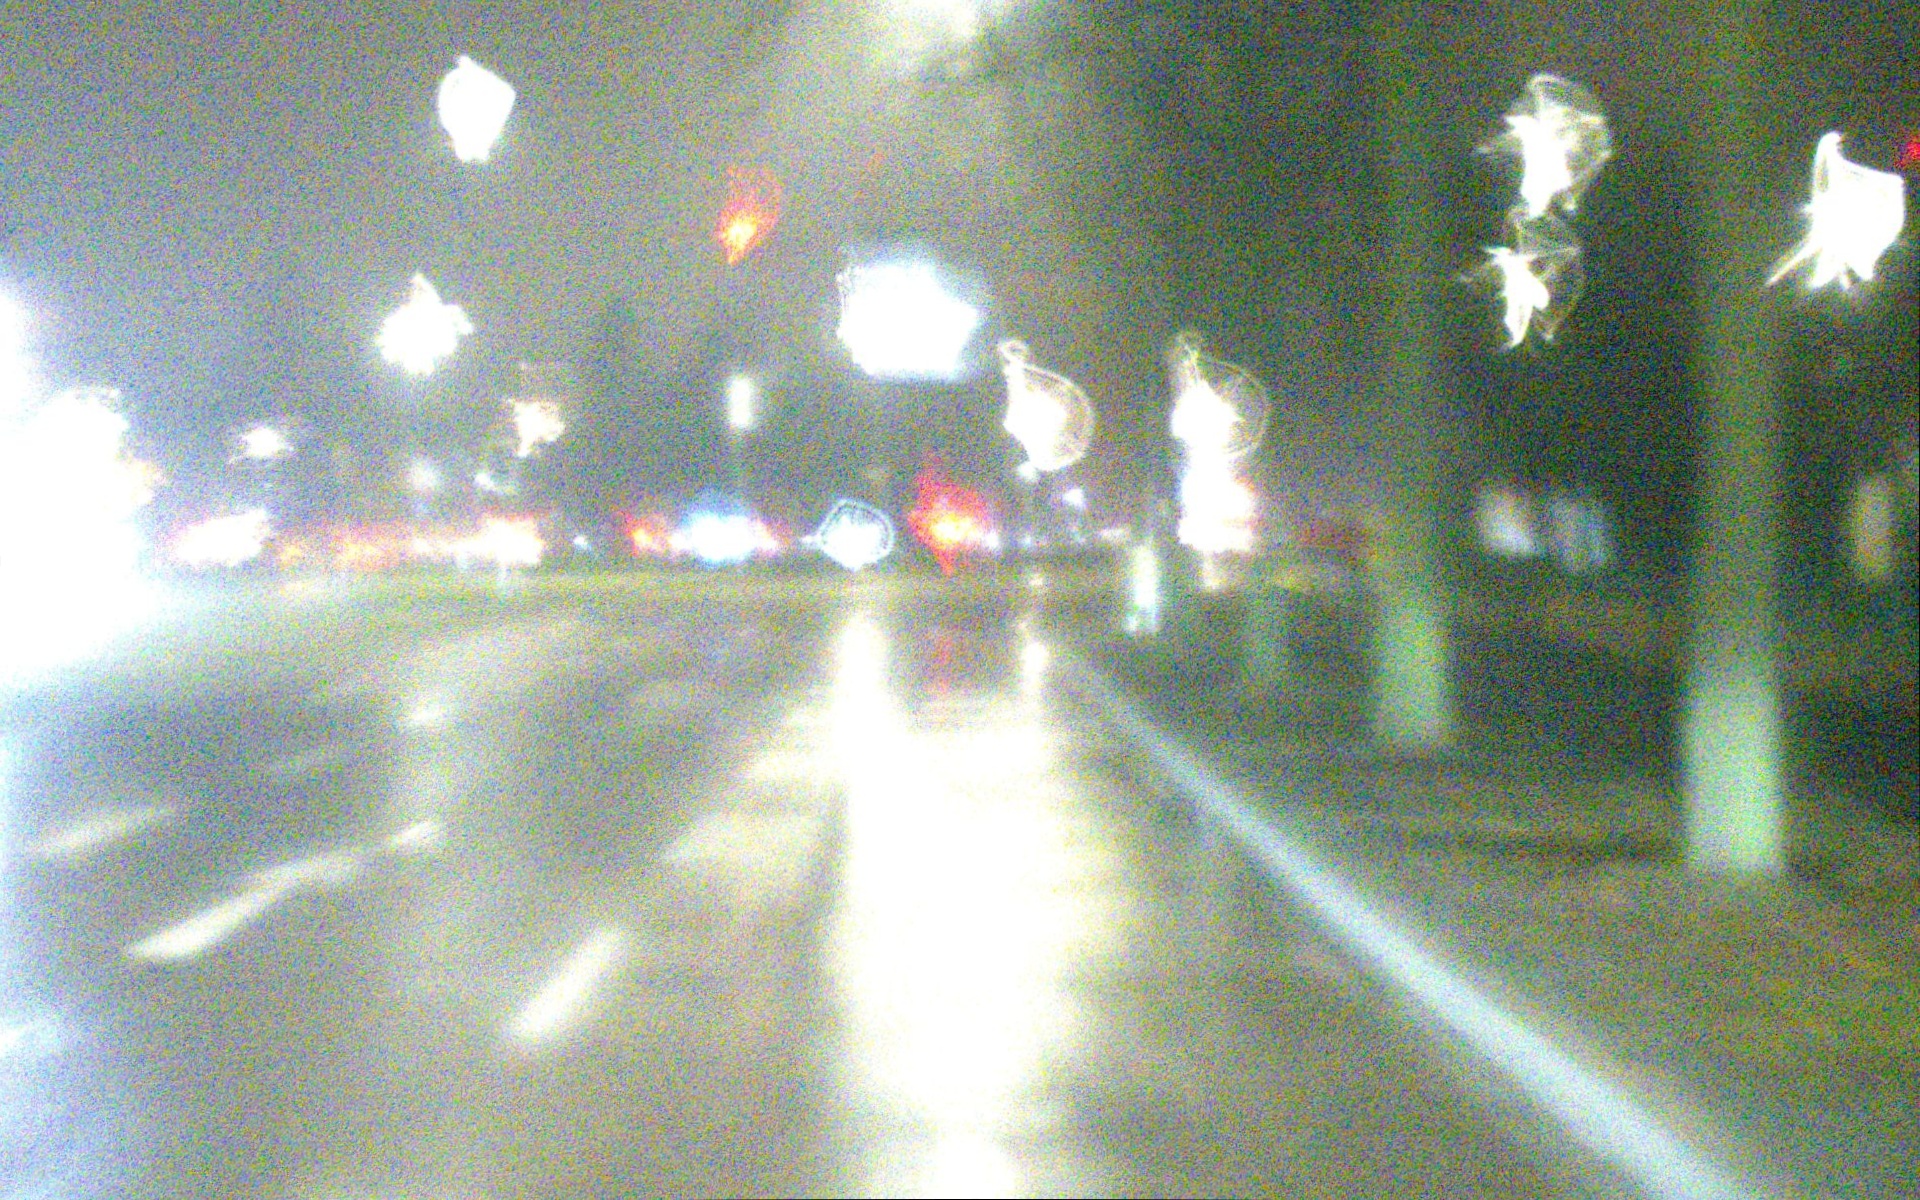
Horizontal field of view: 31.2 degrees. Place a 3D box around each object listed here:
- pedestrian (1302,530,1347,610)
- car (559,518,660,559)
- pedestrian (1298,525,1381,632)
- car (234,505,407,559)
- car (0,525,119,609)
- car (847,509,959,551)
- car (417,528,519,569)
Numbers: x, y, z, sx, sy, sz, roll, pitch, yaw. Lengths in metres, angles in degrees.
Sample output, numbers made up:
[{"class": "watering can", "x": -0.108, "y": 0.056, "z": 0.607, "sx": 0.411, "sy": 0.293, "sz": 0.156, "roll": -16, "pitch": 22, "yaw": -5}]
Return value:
[{"class": "pedestrian", "x": 6.874, "y": -0.574, "z": 64.874, "sx": 0.726, "sy": 1.480, "sz": 0.836, "roll": 1, "pitch": 1, "yaw": -1}, {"class": "car", "x": -14.058, "y": -2.473, "z": 137.989, "sx": 3.951, "sy": 1.573, "sz": 1.737, "roll": 1, "pitch": 1, "yaw": -2}, {"class": "pedestrian", "x": 6.482, "y": -0.380, "z": 58.816, "sx": 1.227, "sy": 1.787, "sz": 1.490, "roll": 1, "pitch": 1, "yaw": -1}, {"class": "car", "x": -25.335, "y": -2.696, "z": 136.157, "sx": 6.292, "sy": 2.082, "sz": 2.516, "roll": 0, "pitch": 1, "yaw": -25}, {"class": "car", "x": -16.775, "y": -0.626, "z": 63.158, "sx": 1.829, "sy": 1.459, "sz": 4.001, "roll": 1, "pitch": 1, "yaw": -3}, {"class": "car", "x": -2.261, "y": -2.766, "z": 136.085, "sx": 3.992, "sy": 1.610, "sz": 1.834, "roll": 1, "pitch": 1, "yaw": 26}, {"class": "car", "x": -19.747, "y": -2.076, "z": 138.160, "sx": 3.986, "sy": 1.610, "sz": 1.837, "roll": 1, "pitch": 1, "yaw": -7}]
